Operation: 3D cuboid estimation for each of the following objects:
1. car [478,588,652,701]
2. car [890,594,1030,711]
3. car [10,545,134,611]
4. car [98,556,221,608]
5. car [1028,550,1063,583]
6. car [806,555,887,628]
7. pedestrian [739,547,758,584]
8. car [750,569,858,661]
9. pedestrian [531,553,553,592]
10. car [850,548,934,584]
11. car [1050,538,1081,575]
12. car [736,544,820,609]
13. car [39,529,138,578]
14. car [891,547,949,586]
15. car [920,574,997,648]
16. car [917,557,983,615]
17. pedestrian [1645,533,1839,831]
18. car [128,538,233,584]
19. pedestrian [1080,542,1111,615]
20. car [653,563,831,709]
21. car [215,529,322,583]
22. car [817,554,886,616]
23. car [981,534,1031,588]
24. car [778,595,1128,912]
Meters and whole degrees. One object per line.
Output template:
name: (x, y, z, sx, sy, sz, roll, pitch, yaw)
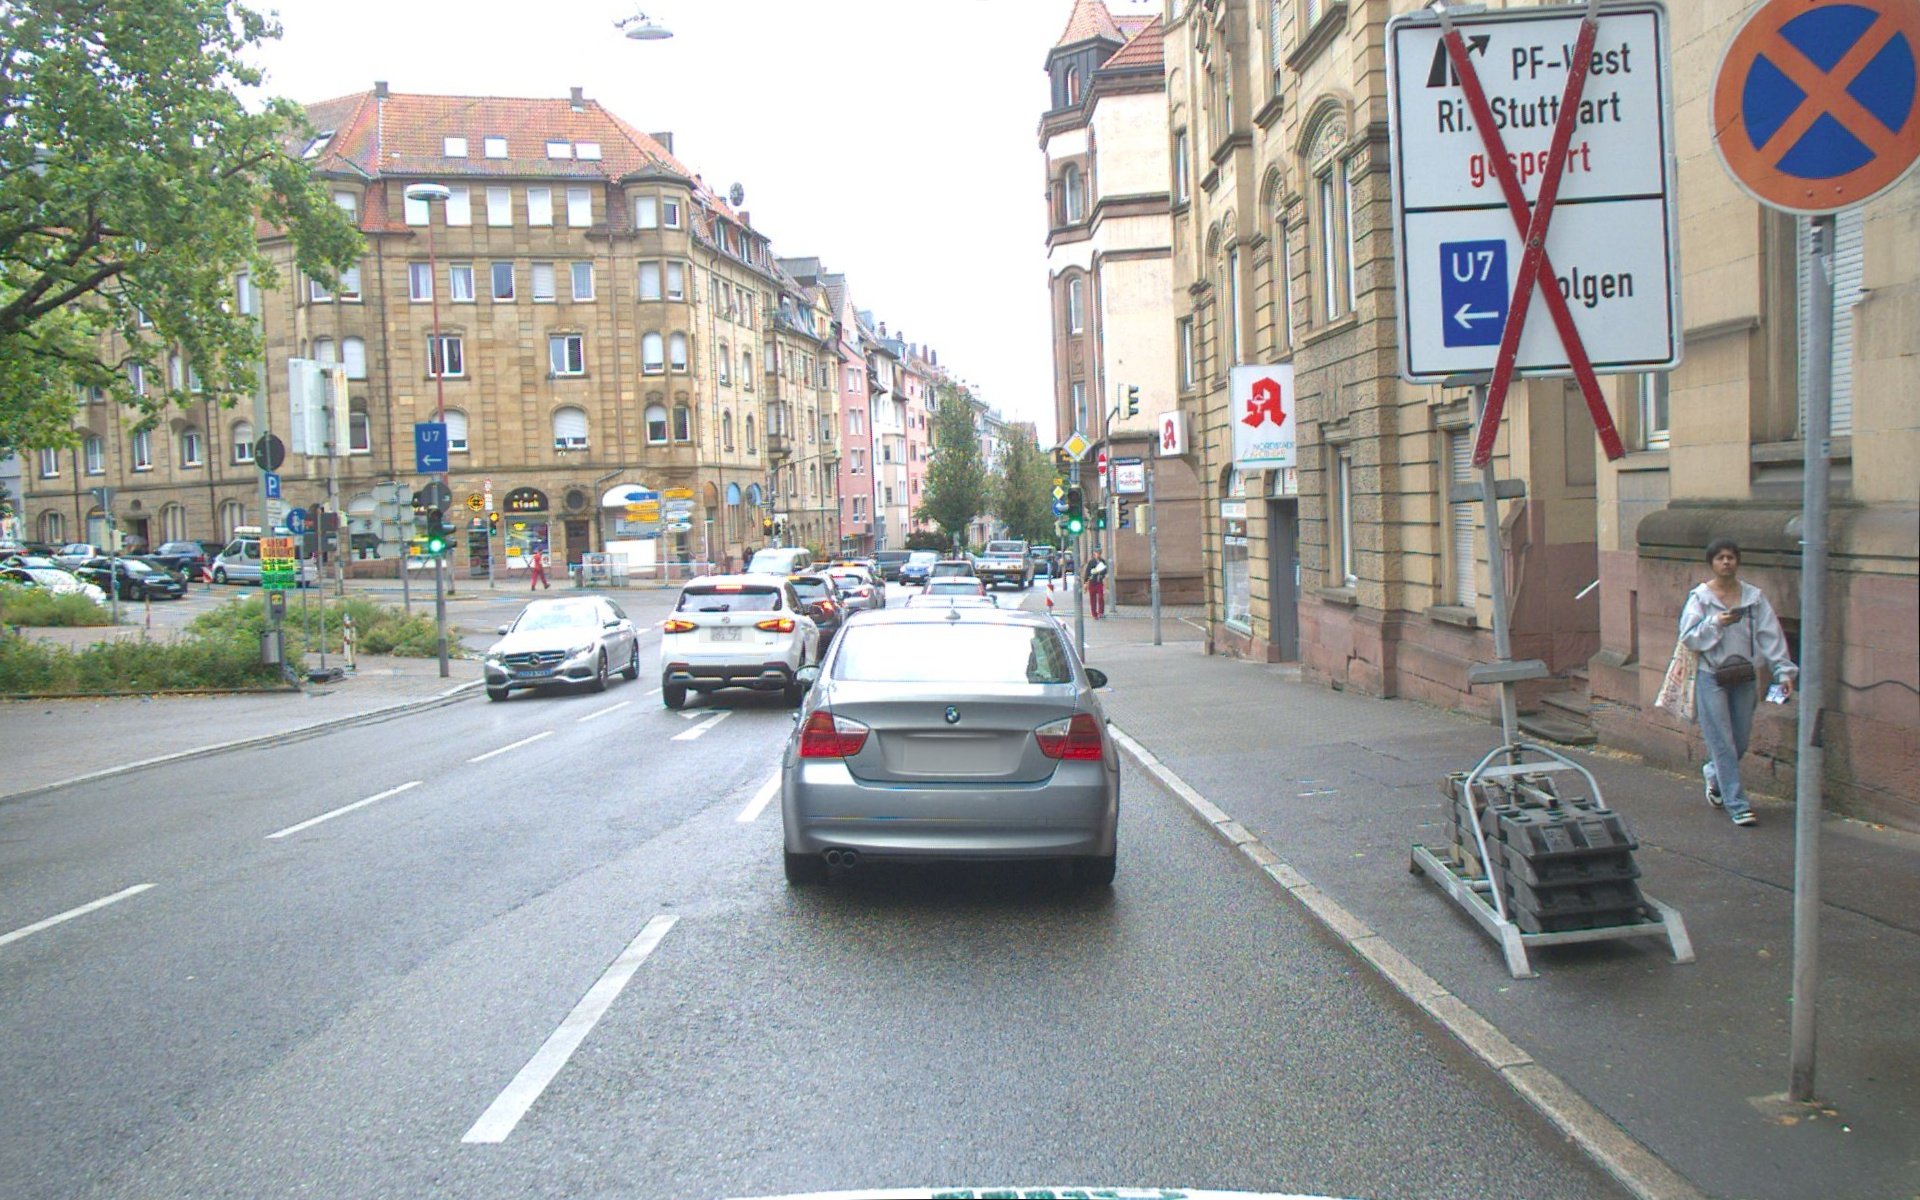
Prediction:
car: (-6.300, 0.653, 26.870, 1.702, 1.553, 4.471, -4, 1, -1)
car: (0.028, 0.646, 22.419, 1.723, 1.407, 4.001, 0, 1, 1)
car: (-29.413, -0.722, 54.750, 3.914, 2.049, 1.874, -1, 0, 31)
car: (-28.634, -0.680, 59.173, 4.157, 1.756, 1.996, 1, 2, 31)
car: (4.507, -1.755, 87.656, 1.689, 1.579, 4.001, 1, 0, 2)
car: (-2.814, -0.229, 41.705, 1.723, 1.737, 4.001, 0, 1, 1)
pedestrian: (-9.488, -1.551, 74.295, 0.716, 1.605, 0.529, -1, 1, 8)
car: (-3.072, 0.263, 33.186, 1.723, 1.737, 4.001, 0, 1, 1)
pedestrian: (-17.499, -1.161, 69.251, 0.525, 1.605, 0.720, -1, 0, 18)
car: (-4.192, -2.083, 103.126, 5.071, 2.049, 2.698, 2, 0, -1)
car: (6.404, -2.605, 99.760, 1.689, 2.049, 4.002, 1, 0, 5)
car: (-5.866, -0.768, 53.672, 1.724, 1.959, 4.327, -1, 1, 7)
car: (-39.753, -2.140, 75.425, 4.197, 2.138, 1.997, 2, 2, 28)
car: (-1.758, -1.474, 73.387, 1.805, 1.568, 4.003, 1, 0, 10)
car: (0.006, 0.195, 35.550, 1.562, 1.490, 4.001, 0, 1, 1)
car: (-0.246, -0.424, 47.505, 1.723, 1.594, 4.001, 0, 1, 2)
pedestrian: (4.308, 0.432, 9.157, 0.618, 1.534, 0.693, -5, 0, -1)
car: (-33.744, -1.724, 71.583, 4.197, 1.870, 1.997, 2, 3, 28)
pedestrian: (3.629, -0.581, 44.453, 0.727, 1.943, 0.659, -1, 1, -1)
car: (-2.803, 0.390, 22.082, 1.830, 1.653, 4.000, -2, 2, -1)
car: (-29.179, -1.878, 69.796, 4.197, 2.138, 1.997, 2, 2, 28)
car: (-3.174, -0.451, 48.896, 1.723, 1.737, 4.001, 0, 1, 1)
car: (1.872, -1.597, 68.668, 1.953, 2.143, 4.000, 0, 0, 0)
car: (-0.005, 0.693, 9.322, 1.590, 1.407, 3.616, 0, 1, 1)
